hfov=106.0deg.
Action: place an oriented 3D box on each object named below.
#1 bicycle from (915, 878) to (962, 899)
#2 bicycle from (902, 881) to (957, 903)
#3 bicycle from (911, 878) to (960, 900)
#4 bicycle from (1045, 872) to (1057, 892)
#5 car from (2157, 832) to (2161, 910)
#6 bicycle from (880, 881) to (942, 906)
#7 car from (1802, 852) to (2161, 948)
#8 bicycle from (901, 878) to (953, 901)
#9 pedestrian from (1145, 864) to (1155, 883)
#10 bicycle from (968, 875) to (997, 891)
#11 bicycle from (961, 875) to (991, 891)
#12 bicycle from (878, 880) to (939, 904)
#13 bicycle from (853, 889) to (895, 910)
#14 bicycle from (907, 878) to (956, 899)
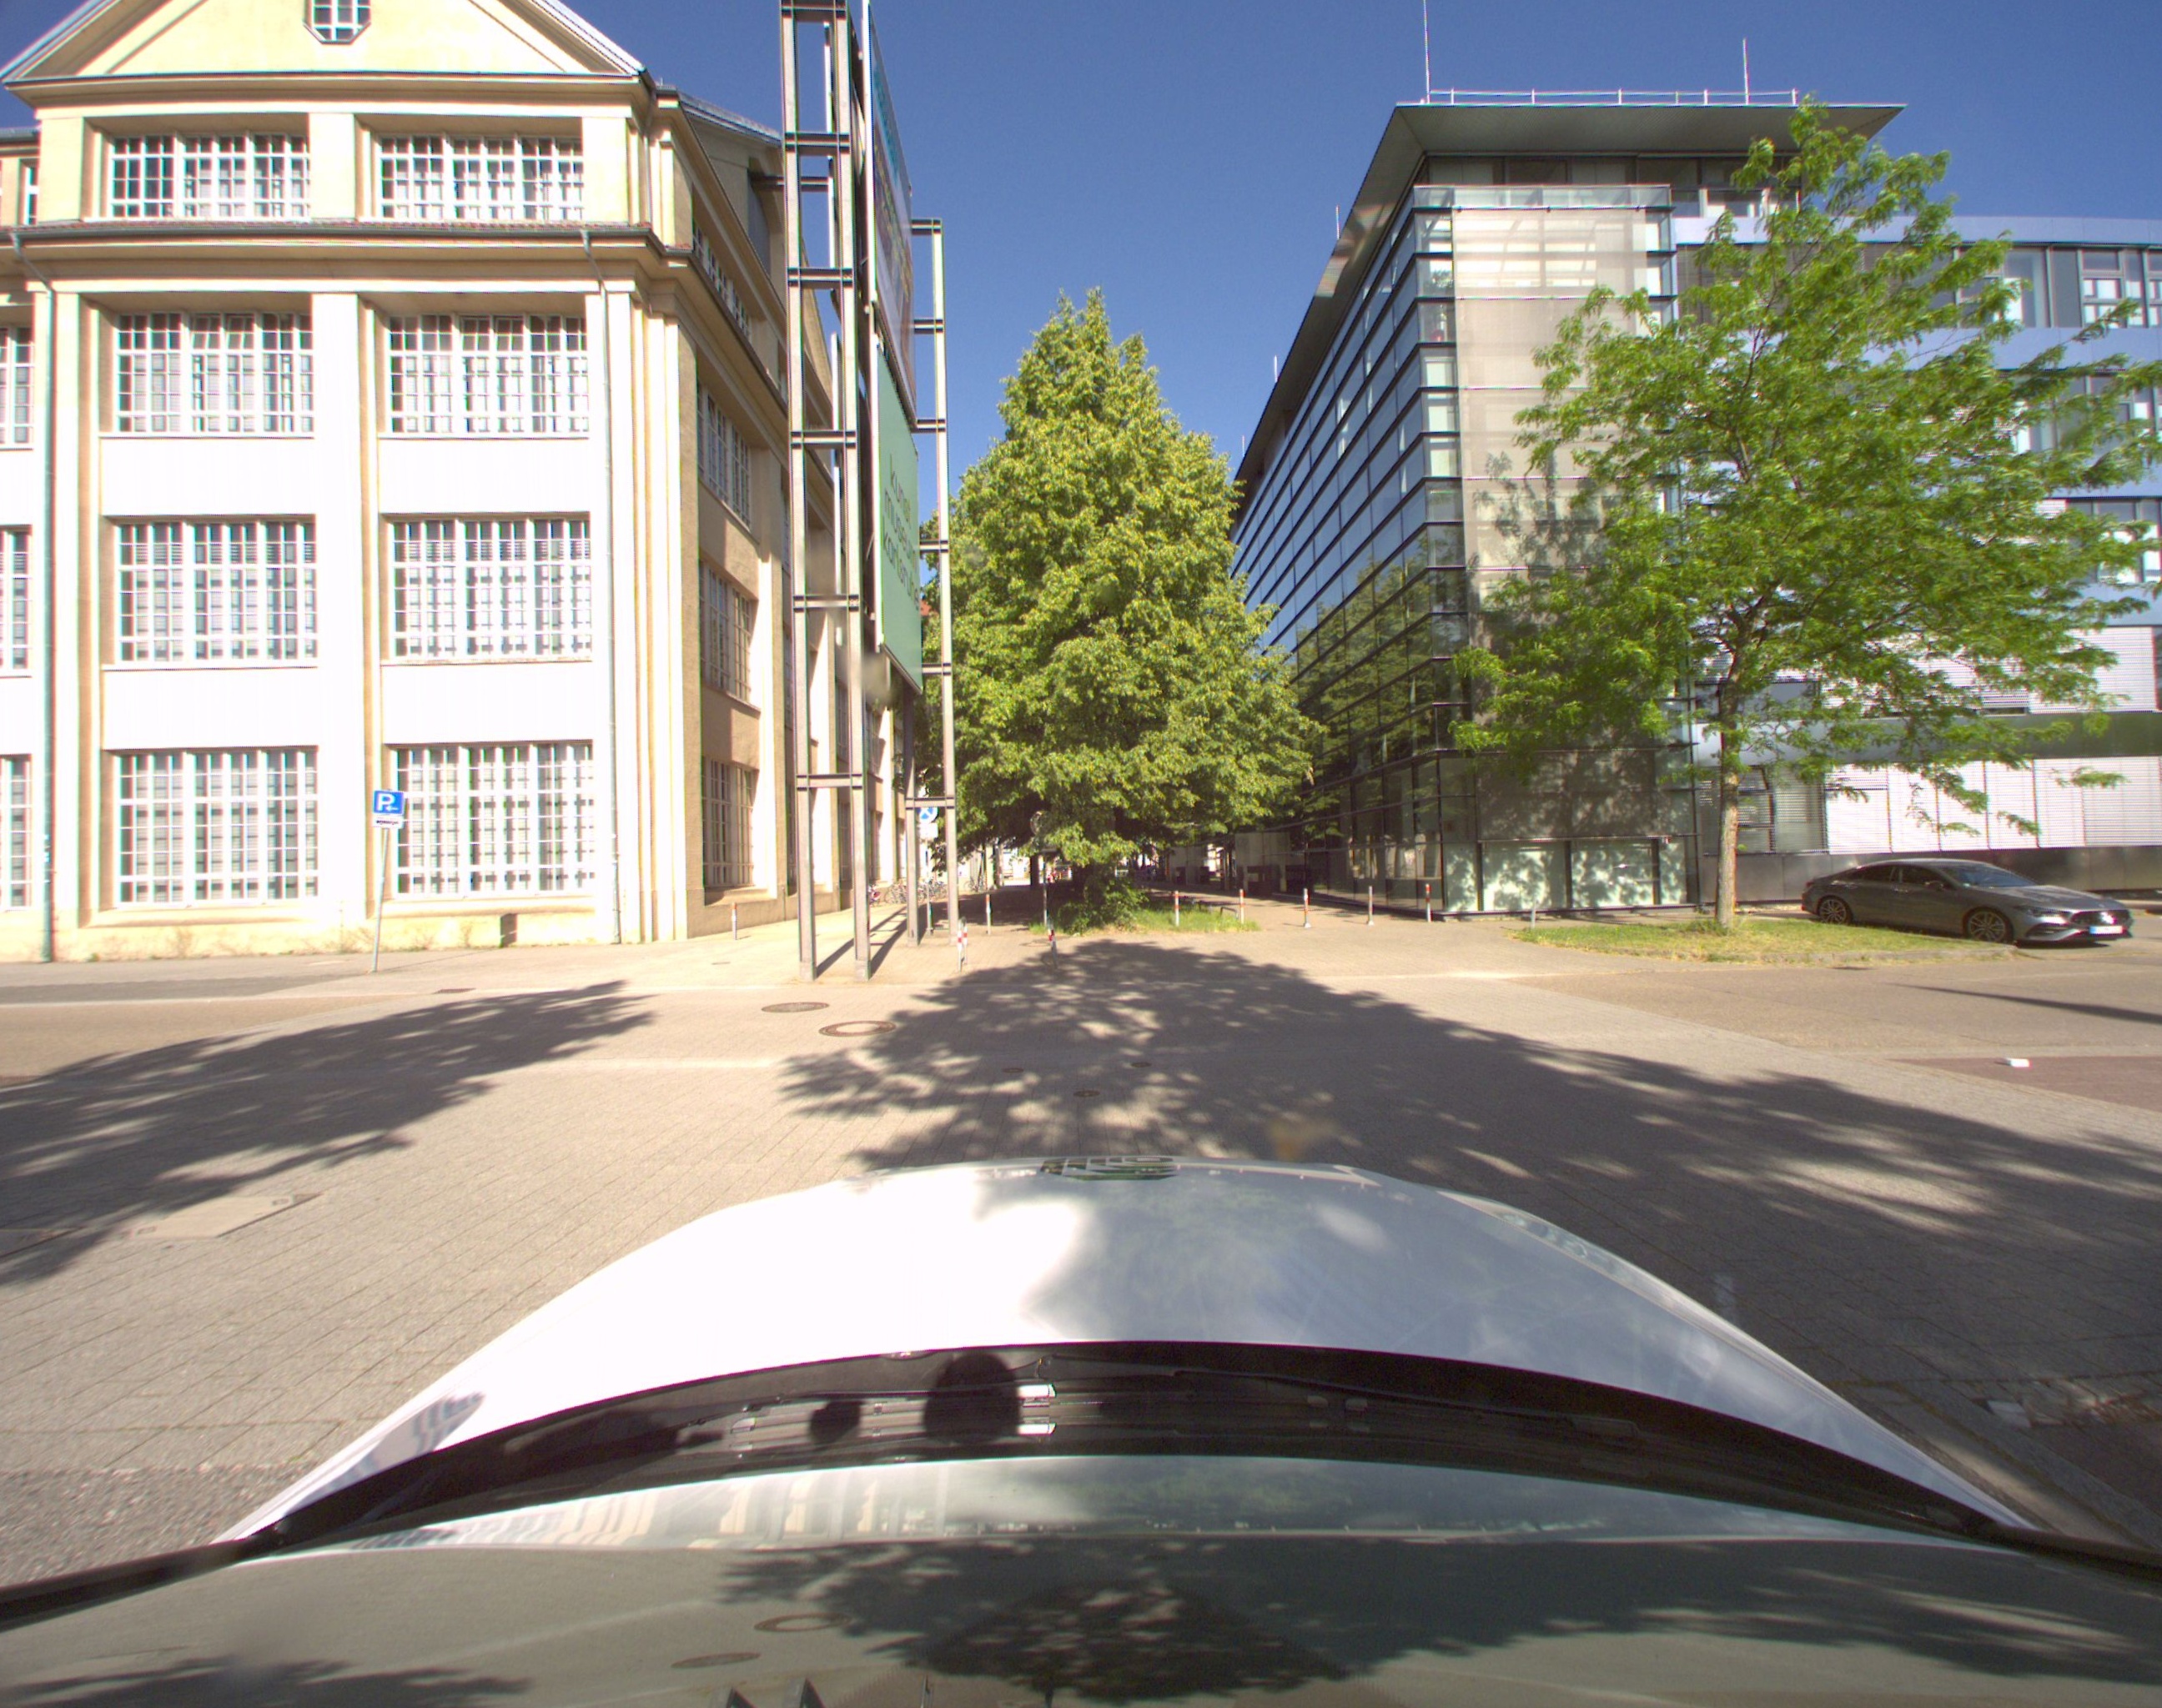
[{"bbox_3d":[-8.642,2.087,49.444,2.727,1.151,0.717,-1,-1,-6],"label":"bicycle"},{"bbox_3d":[-7.997,1.981,43.078,2.797,1.063,0.717,-1,-1,-6],"label":"bicycle"},{"bbox_3d":[-8.504,2.034,47.595,2.727,1.151,0.717,-1,-1,-6],"label":"bicycle"},{"bbox_3d":[-1.924,1.803,52.574,0.618,1.197,2.127,-2,-1,-6],"label":"bicycle"},{"bbox_3d":[23.742,0.373,15.339,1.881,1.645,3.841,-2,1,-2],"label":"car"},{"bbox_3d":[-8.029,1.854,38.514,2.797,1.063,0.717,-1,-1,-6],"label":"bicycle"},{"bbox_3d":[16.358,0.721,15.107,1.881,1.350,4.548,-2,1,-1],"label":"car"},{"bbox_3d":[-8.586,1.964,45.439,2.797,1.151,0.717,-2,-1,-6],"label":"bicycle"},{"bbox_3d":[5.540,1.575,65.620,0.713,1.550,0.691,-2,-1,5],"label":"pedestrian"},{"bbox_3d":[-7.123,2.074,58.898,2.050,1.066,0.506,-2,-1,0],"label":"bicycle"},{"bbox_3d":[-7.482,2.098,58.201,2.050,1.066,0.506,-2,-1,0],"label":"bicycle"},{"bbox_3d":[-8.490,1.851,40.112,2.792,1.063,0.718,-2,-1,-2],"label":"bicycle"},{"bbox_3d":[-9.056,1.972,35.820,0.774,0.792,2.889,-2,-1,7],"label":"bicycle"},{"bbox_3d":[-8.578,1.980,46.804,2.727,1.151,0.717,-1,-1,-6],"label":"bicycle"}]
